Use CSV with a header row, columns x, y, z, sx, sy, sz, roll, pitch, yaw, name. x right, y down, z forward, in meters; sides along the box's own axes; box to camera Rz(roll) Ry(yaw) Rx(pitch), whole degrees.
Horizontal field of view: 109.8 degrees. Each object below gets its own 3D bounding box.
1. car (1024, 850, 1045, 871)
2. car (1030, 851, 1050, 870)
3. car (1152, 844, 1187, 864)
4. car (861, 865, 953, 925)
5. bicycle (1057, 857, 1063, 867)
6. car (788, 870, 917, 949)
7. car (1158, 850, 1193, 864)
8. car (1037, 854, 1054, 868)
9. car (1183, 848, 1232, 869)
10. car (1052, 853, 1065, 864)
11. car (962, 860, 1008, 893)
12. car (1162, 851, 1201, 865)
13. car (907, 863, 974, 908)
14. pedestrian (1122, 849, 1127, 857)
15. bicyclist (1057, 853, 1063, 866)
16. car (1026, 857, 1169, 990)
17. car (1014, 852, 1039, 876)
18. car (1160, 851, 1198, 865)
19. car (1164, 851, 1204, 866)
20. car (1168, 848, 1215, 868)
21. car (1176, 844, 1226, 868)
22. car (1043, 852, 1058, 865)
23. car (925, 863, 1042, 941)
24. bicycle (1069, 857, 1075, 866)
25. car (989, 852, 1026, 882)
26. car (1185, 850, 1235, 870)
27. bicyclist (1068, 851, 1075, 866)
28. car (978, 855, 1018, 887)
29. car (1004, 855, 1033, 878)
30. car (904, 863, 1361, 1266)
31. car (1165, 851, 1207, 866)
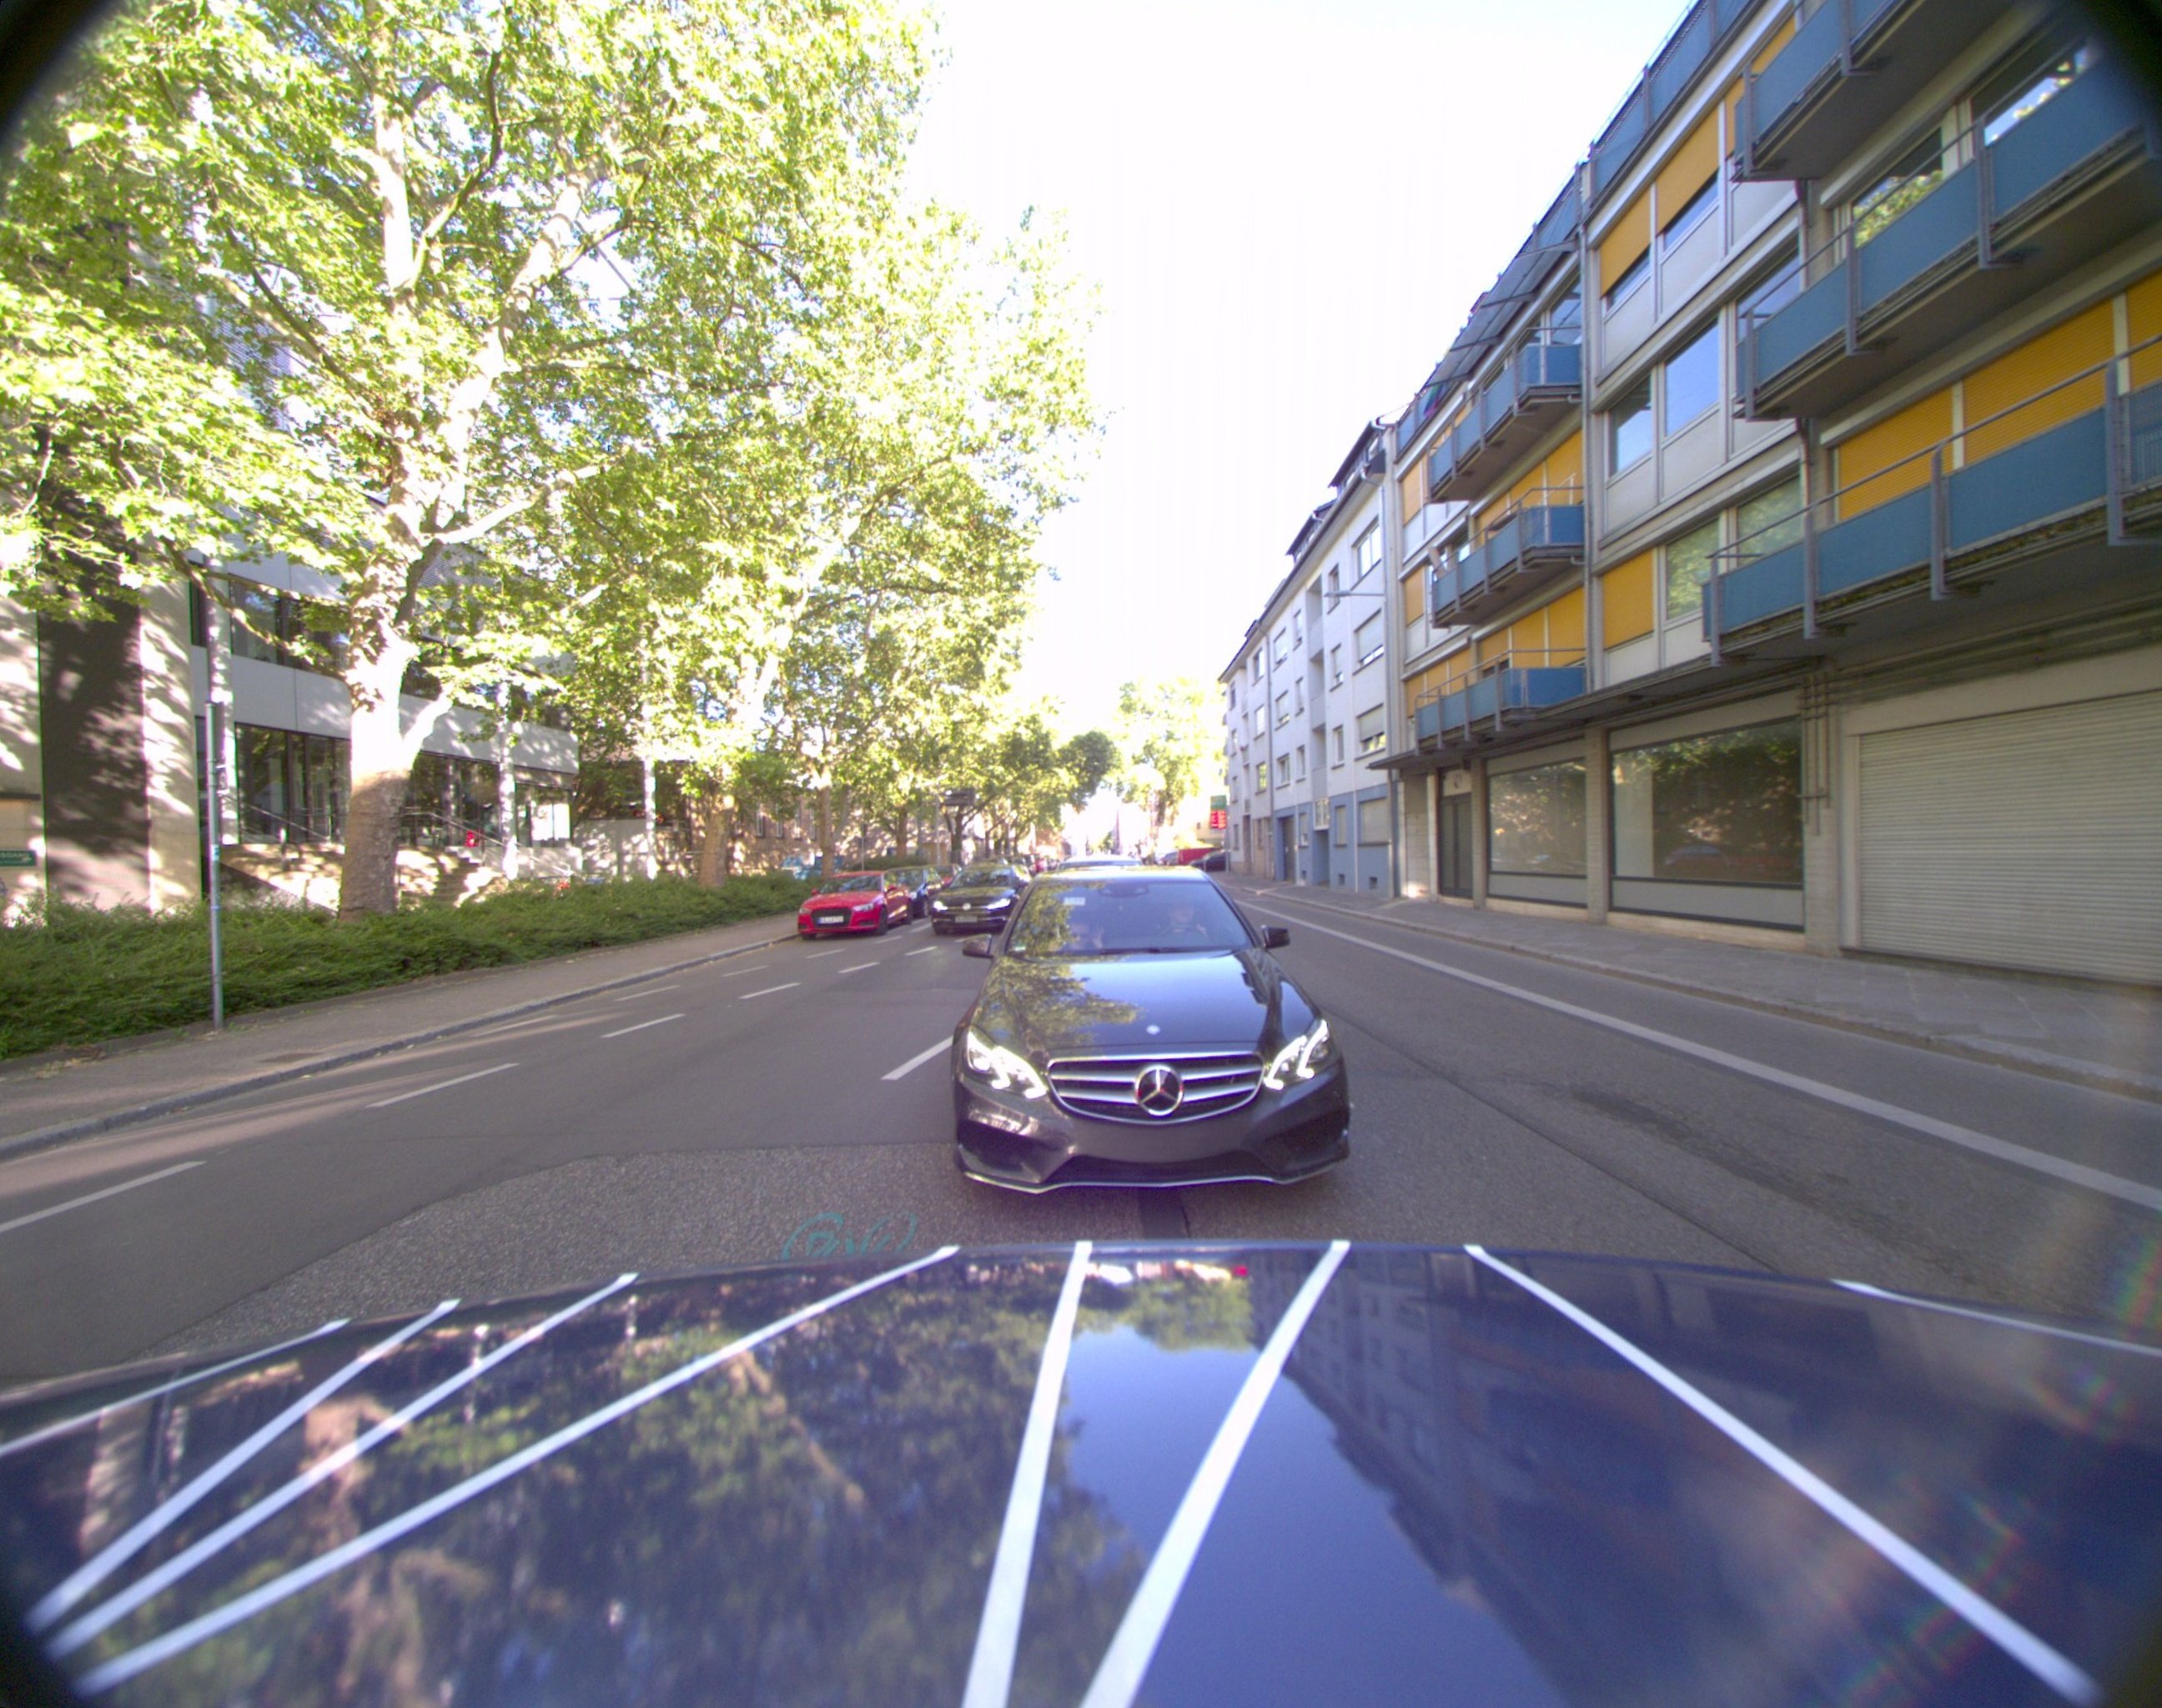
x,y,z,sx,sy,sz,roll,pitch,yaw,name
-4.255,0.585,70.216,1.646,1.839,3.836,-2,0,0,car
-4.101,0.630,76.007,1.686,1.749,3.836,-2,0,0,car
10.397,0.017,89.298,3.905,2.164,1.725,-2,1,2,car
-5.016,1.127,22.409,1.686,1.458,4.000,-3,0,0,car
-2.529,0.991,91.820,0.667,1.093,1.814,-2,1,0,bicycle
-5.135,1.188,17.650,1.724,1.412,4.030,-4,0,-1,car
10.537,0.325,84.805,3.782,1.432,1.539,-2,1,2,car
-4.055,0.739,87.052,1.639,1.493,3.752,-2,0,0,car
10.125,0.351,61.125,3.668,1.501,1.602,-2,1,2,car
-3.132,0.642,106.818,1.686,1.475,3.836,-2,0,0,car
-4.669,1.045,37.394,1.686,1.443,4.000,-2,0,0,car
10.517,0.420,79.732,3.905,1.325,1.525,-2,1,2,car
-5.012,1.092,27.594,1.666,1.426,3.781,-2,0,0,car
11.707,-0.377,204.223,0.882,2.108,0.822,-1,1,32,pedestrian
-2.536,0.693,91.805,0.756,1.512,0.768,-2,1,-1,bicyclist
0.202,0.879,11.648,1.732,1.538,4.293,-2,1,0,car
-4.221,0.749,59.359,1.663,1.704,3.836,-2,0,0,car
10.526,0.393,82.120,3.905,1.325,1.525,-2,1,2,car
10.401,0.421,76.977,3.905,1.366,1.594,-2,1,2,car
9.712,0.324,66.764,3.905,1.577,1.603,-2,1,2,car
10.071,0.159,63.969,3.905,1.895,1.749,-2,1,2,car
-3.794,0.591,95.675,1.686,1.546,3.836,-2,0,0,car
-2.046,0.982,17.102,1.693,1.432,3.903,-2,0,6,car
-1.109,0.917,93.126,0.667,1.093,1.814,-2,1,0,bicycle
-4.598,0.769,48.179,1.819,1.758,4.431,-2,0,0,car
9.956,0.452,58.720,3.598,1.401,1.534,-2,0,2,car
-1.165,0.559,93.179,0.756,1.714,0.768,-2,1,-1,bicyclist
-4.541,0.905,42.053,1.686,1.610,3.836,-2,0,0,car
-4.429,0.872,54.502,1.686,1.552,3.868,-2,0,0,car
0.209,0.895,5.273,1.828,1.495,4.293,-2,1,0,car
10.369,0.445,74.955,3.905,1.366,1.594,-2,1,2,car
